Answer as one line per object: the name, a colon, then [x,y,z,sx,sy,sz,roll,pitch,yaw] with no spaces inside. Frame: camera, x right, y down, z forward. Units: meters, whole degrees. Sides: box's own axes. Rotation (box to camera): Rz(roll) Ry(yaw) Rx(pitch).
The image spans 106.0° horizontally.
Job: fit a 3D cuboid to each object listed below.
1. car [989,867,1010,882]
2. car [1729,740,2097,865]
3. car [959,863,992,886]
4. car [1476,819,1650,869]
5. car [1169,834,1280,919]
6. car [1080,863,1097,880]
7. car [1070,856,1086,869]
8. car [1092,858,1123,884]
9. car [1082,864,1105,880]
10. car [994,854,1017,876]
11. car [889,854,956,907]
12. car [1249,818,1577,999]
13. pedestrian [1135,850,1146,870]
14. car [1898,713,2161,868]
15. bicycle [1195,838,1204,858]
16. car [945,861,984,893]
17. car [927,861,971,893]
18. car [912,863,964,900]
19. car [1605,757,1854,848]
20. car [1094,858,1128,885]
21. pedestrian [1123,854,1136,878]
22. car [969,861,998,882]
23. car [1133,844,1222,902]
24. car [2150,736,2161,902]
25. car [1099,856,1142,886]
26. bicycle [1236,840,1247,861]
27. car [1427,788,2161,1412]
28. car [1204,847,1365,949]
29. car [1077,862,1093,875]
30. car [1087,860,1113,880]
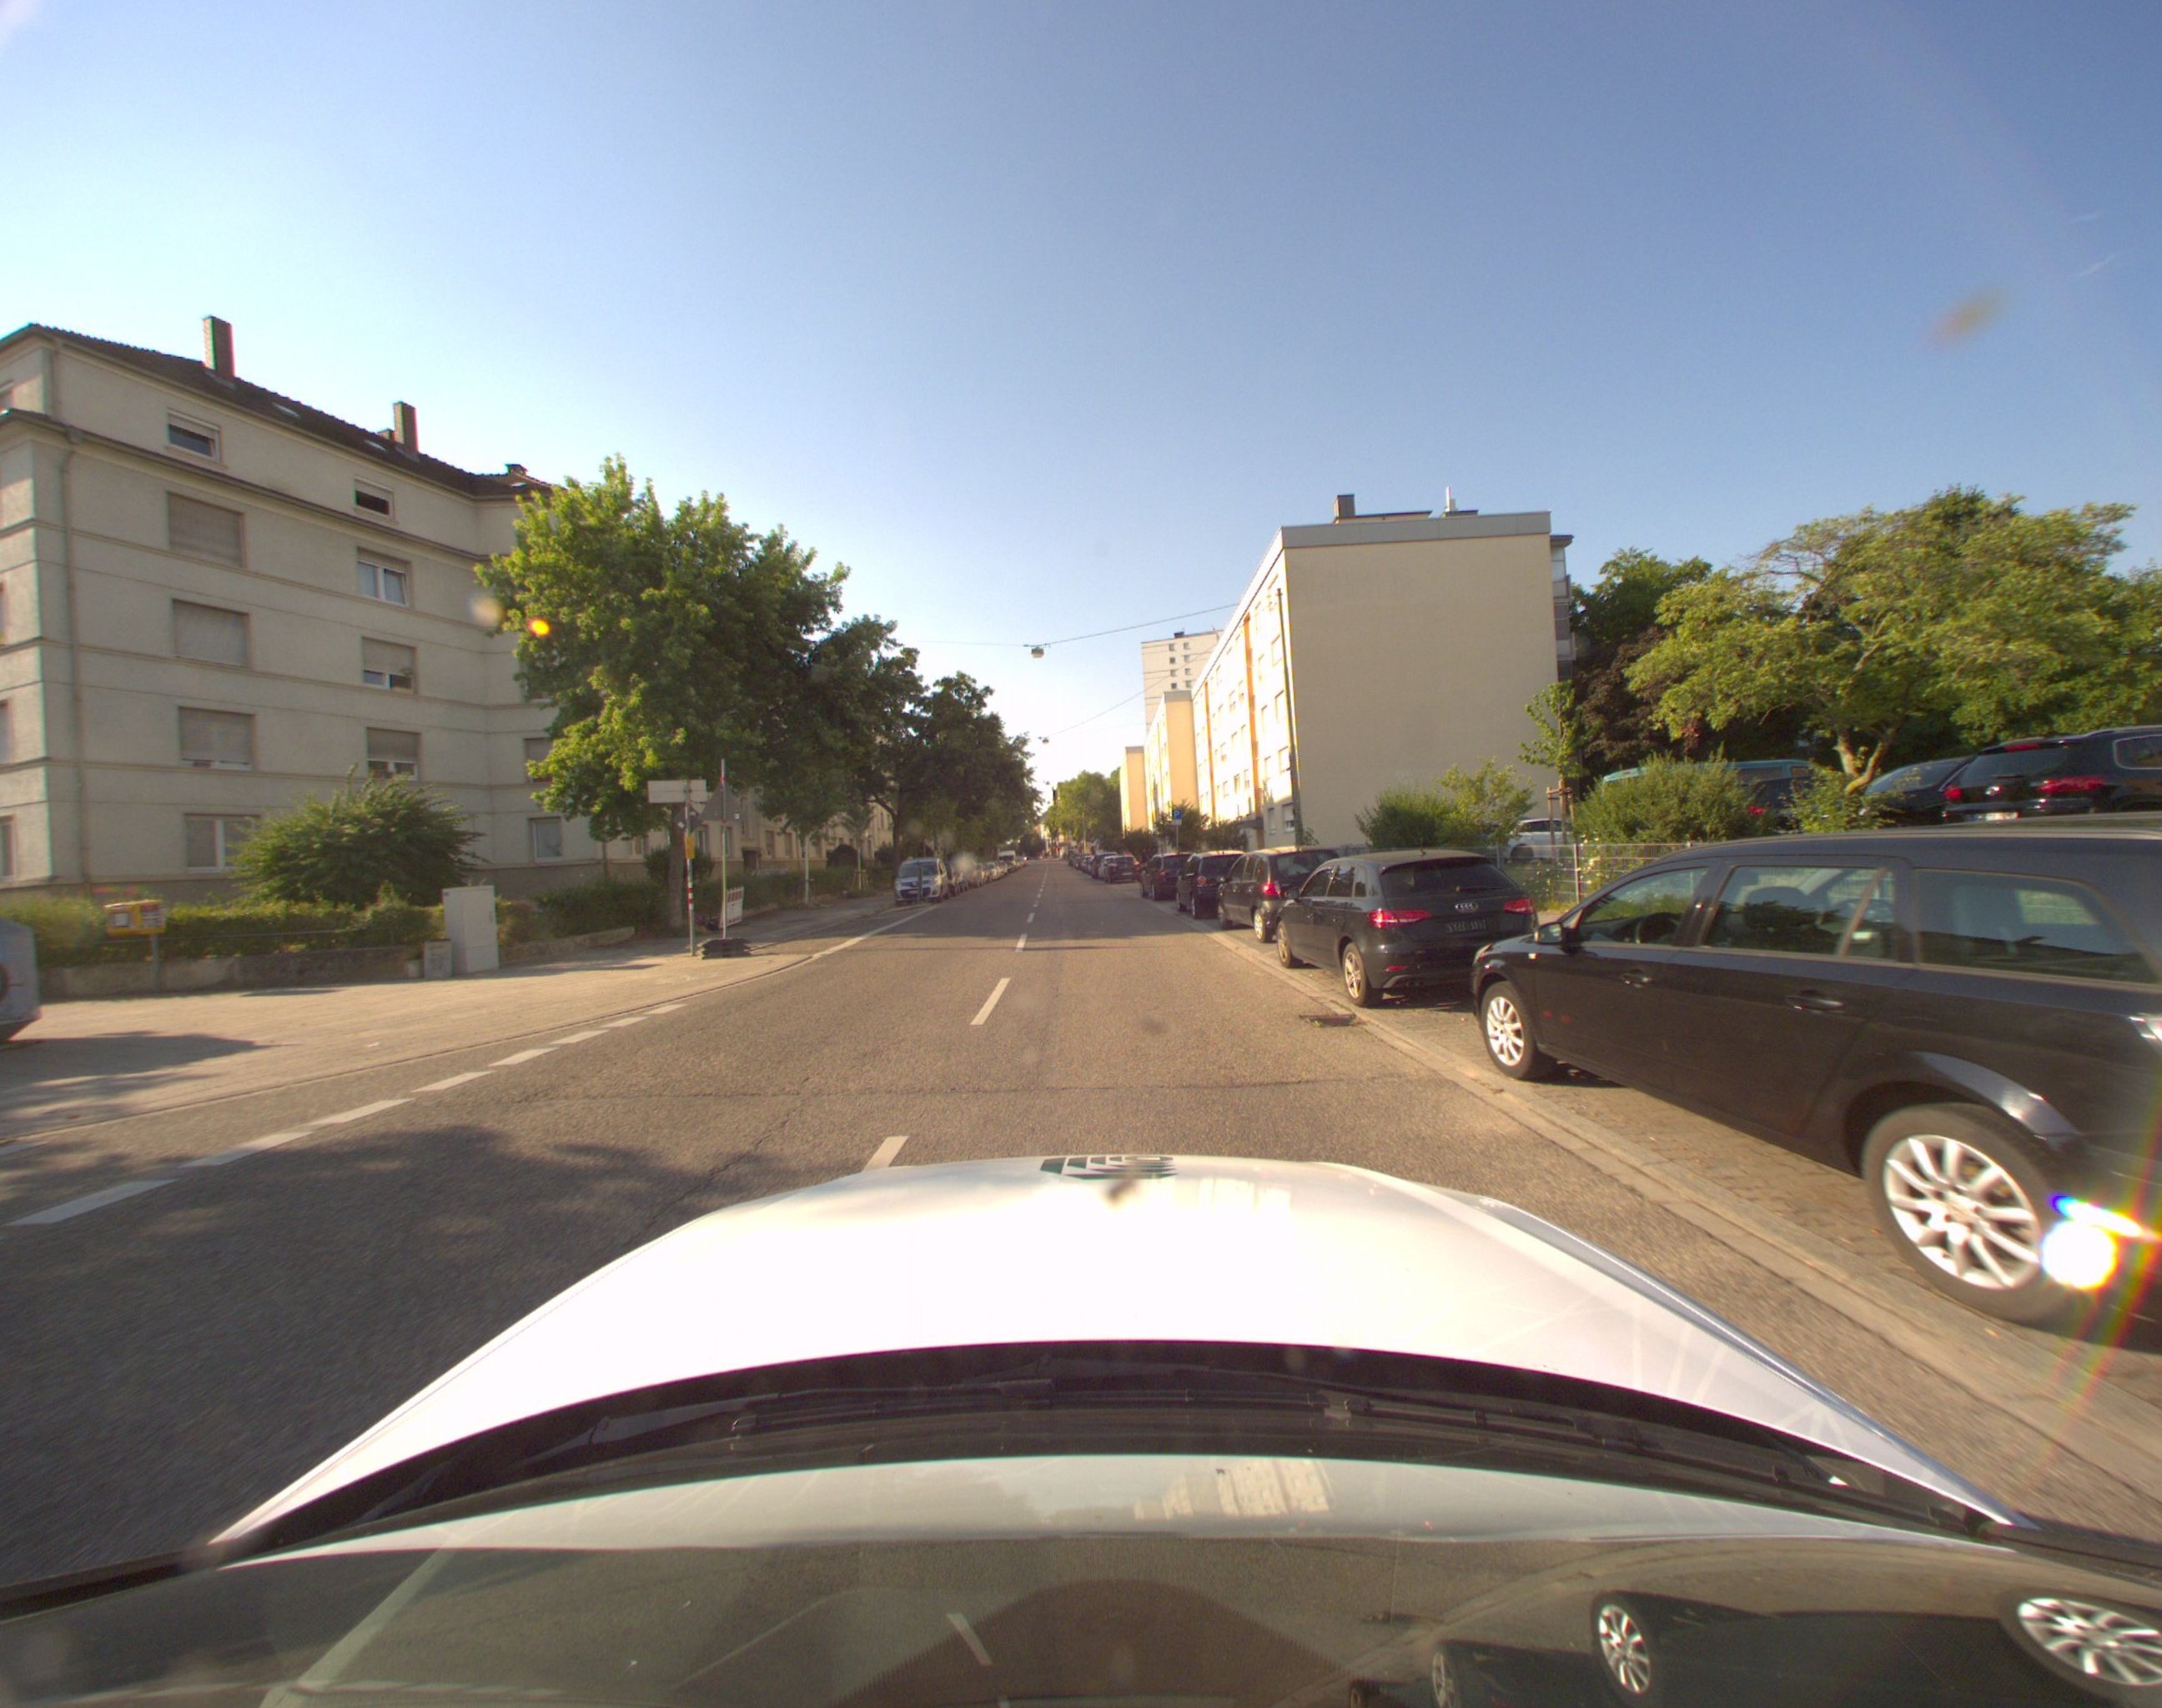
car: [-7.664,1.939,76.902,1.870,1.355,4.646,-1,-1,-4]
car: [13.389,-0.772,13.326,3.975,1.794,1.999,-1,-1,-1]
car: [-7.063,1.384,54.931,1.870,1.434,4.796,-1,-1,-4]
car: [15.121,-0.288,25.702,4.461,1.455,1.732,-1,-1,0]
car: [3.322,0.534,19.761,1.895,1.779,4.581,-1,-1,0]
car: [0.841,1.901,89.917,1.831,1.772,3.978,-3,-1,1]
car: [-0.469,1.228,117.927,1.894,1.651,4.337,-4,0,-3]
car: [1.782,1.168,55.761,1.767,1.678,4.642,-2,-1,-2]
car: [1.207,1.761,78.051,1.870,1.443,3.994,-1,-1,-4]
car: [-8.861,1.360,95.894,2.352,2.446,6.159,-1,-1,-2]
car: [-6.182,1.024,32.277,1.836,1.896,4.484,-1,-1,-1]
car: [3.432,0.529,9.616,1.895,1.529,4.810,-2,-1,0]
pedestrian: [5.198,0.503,70.774,0.764,1.658,0.536,-5,-1,-3]
car: [13.550,-0.756,10.550,3.976,1.794,1.998,-1,-1,-2]
bicycle: [7.151,-0.364,49.226,0.332,1.192,1.239,-1,-1,-2]
car: [-6.720,1.317,47.480,1.870,1.759,4.682,-1,-1,-4]
car: [-6.816,1.166,42.418,1.870,1.552,3.994,-1,-1,-4]
car: [-6.475,1.221,37.270,1.870,1.552,3.994,-1,-1,-4]
car: [14.306,-1.100,18.142,3.976,1.794,1.998,-1,-1,-2]
car: [1.822,1.079,50.668,1.767,1.508,3.996,-3,-1,-2]
pedestrian: [3.828,0.953,64.100,0.886,1.891,1.278,-1,-1,-2]
car: [-7.644,1.400,64.140,2.000,1.552,4.464,-1,-1,-4]
car: [3.047,0.617,26.791,1.883,1.561,4.939,-5,-1,-4]
car: [13.699,-0.443,7.948,3.976,1.794,1.998,-1,-1,-2]
car: [2.104,0.937,44.734,1.795,1.507,4.614,-2,-1,-4]
bicycle: [9.738,-0.201,49.412,0.332,1.192,1.239,-1,-1,-2]
car: [3.503,0.588,3.899,1.736,1.540,4.439,-4,-1,0]
car: [3.470,0.661,14.648,1.647,1.436,3.955,-3,1,-4]
car: [0.431,1.686,94.502,1.832,1.501,4.170,-1,-1,-1]
car: [1.556,1.339,67.535,1.767,1.453,3.996,-5,-1,-2]
